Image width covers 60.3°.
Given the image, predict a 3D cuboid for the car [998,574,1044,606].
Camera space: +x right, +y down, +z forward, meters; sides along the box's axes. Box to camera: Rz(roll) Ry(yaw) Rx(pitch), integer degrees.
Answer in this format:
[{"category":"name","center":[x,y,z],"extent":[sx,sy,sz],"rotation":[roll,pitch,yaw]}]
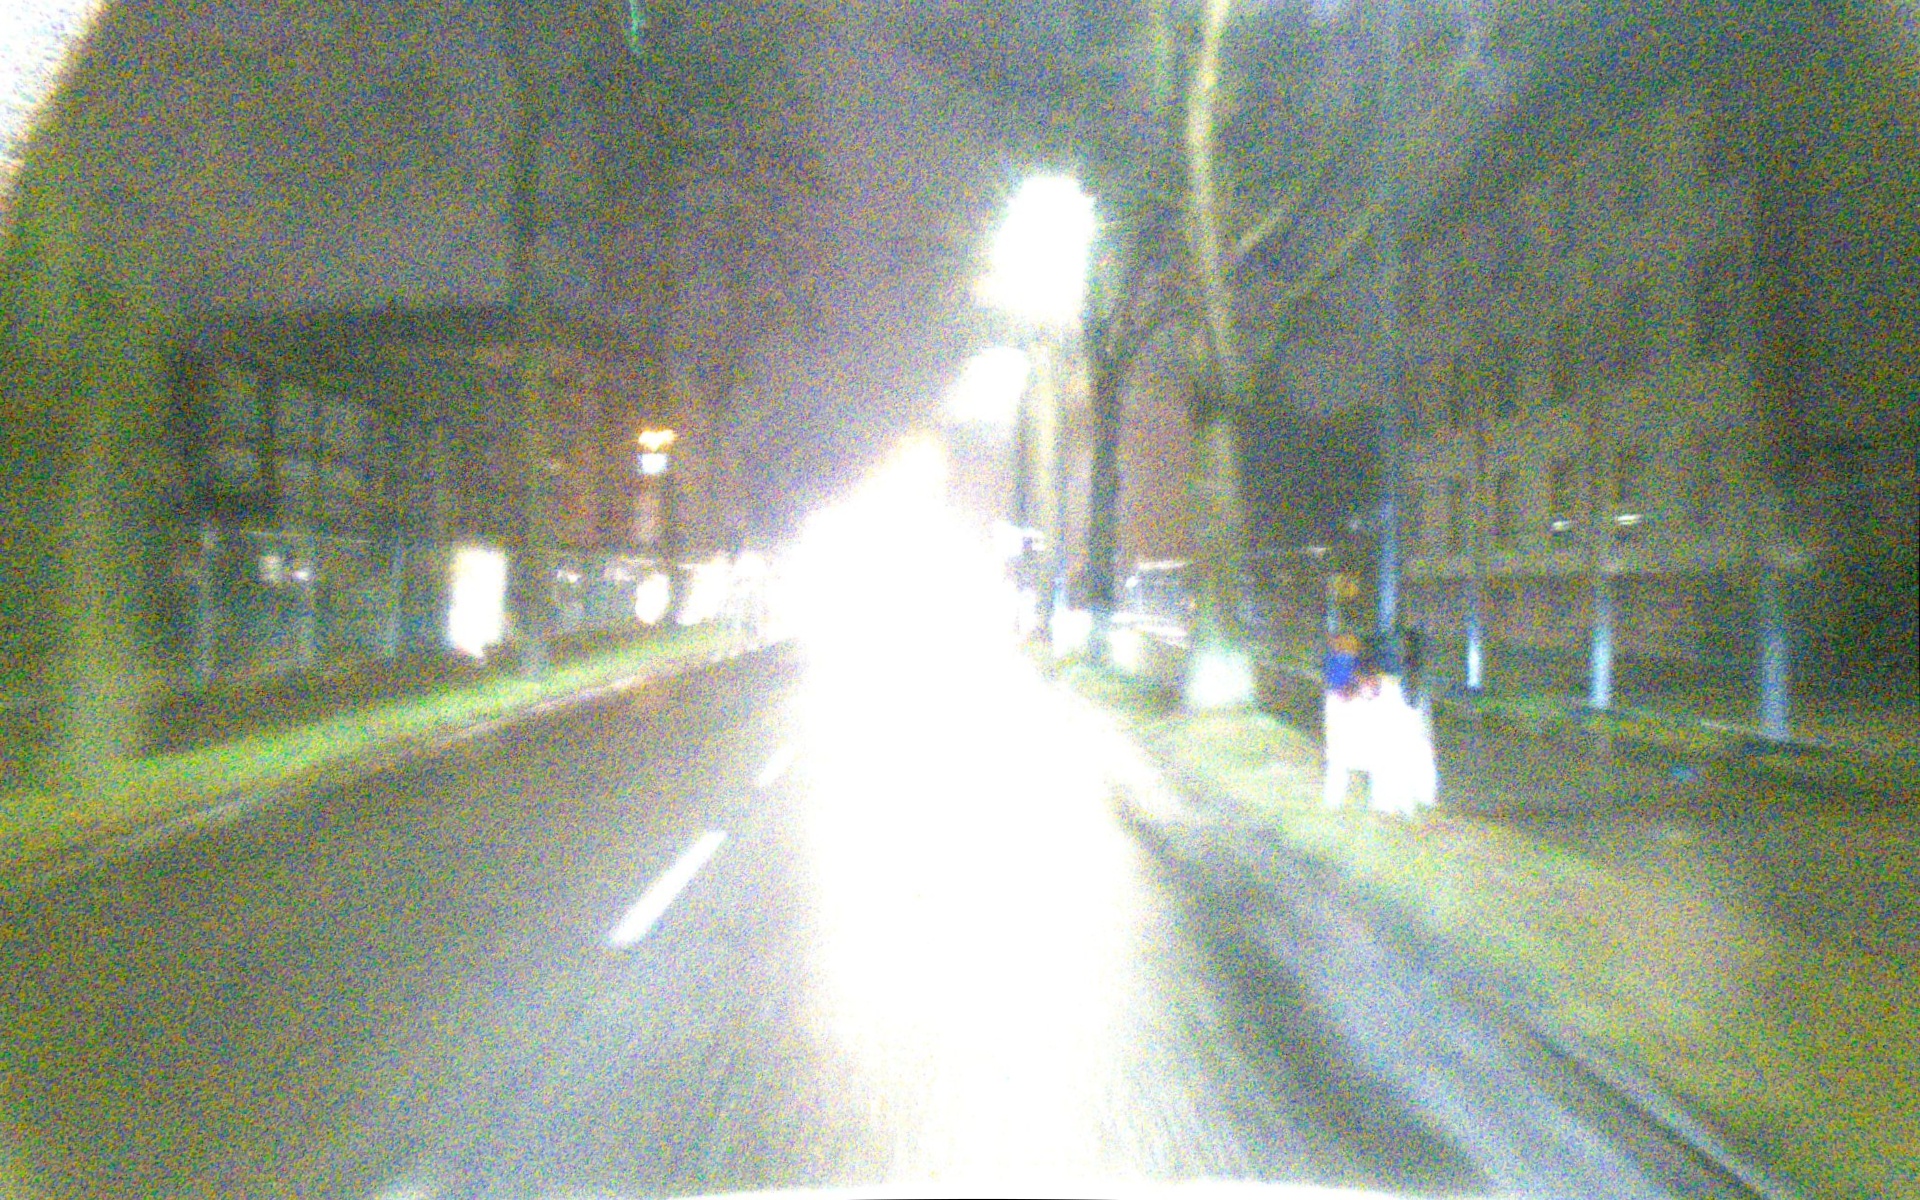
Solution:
[{"category":"car","center":[2.975,-0.511,81.758],"extent":[1.754,1.474,4.787],"rotation":[-2,1,-4]}]

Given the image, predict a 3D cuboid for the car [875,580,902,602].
[{"category":"car","center":[-4.884,-0.614,113.165],"extent":[1.709,1.458,4.000],"rotation":[-1,1,0]}]

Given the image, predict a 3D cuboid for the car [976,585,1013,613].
[{"category":"car","center":[1.935,-0.085,92.742],"extent":[1.679,1.515,4.433],"rotation":[-1,1,-4]}]

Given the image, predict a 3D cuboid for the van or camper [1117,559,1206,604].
[{"category":"van or camper","center":[11.788,-1.100,96.846],"extent":[4.959,2.571,2.171],"rotation":[0,1,0]}]

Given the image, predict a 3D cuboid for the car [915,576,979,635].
[{"category":"car","center":[-0.452,0.136,53.049],"extent":[1.953,1.713,4.000],"rotation":[1,2,-1]}]
